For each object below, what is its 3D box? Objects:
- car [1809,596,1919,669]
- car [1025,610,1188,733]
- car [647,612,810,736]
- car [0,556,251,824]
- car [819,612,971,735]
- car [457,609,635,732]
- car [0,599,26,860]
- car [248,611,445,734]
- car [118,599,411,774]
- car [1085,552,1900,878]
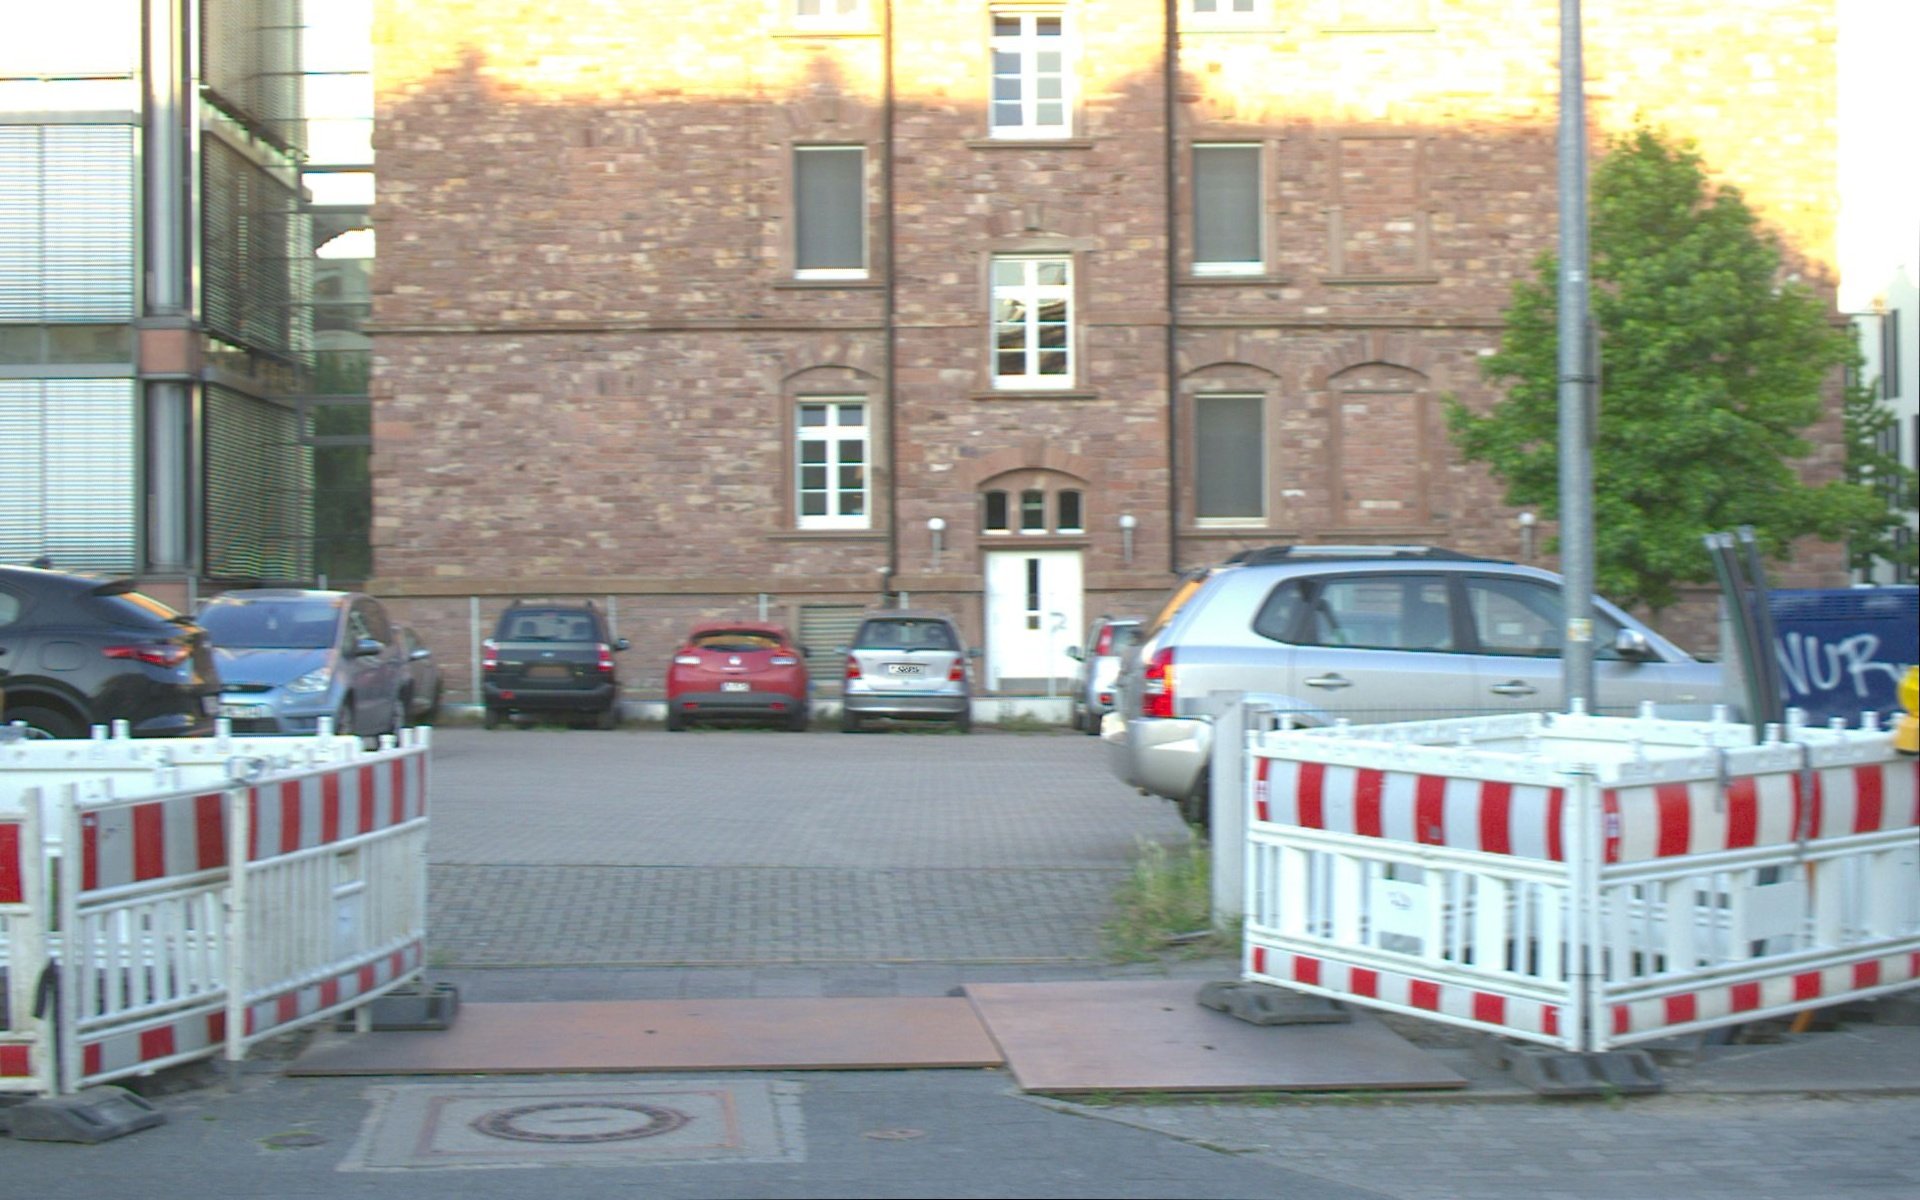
[{"bbox_3d":[17.758,0.596,62.850,3.986,1.308,1.877,0,0,-2],"label":"car"},{"bbox_3d":[1.871,0.907,45.106,1.896,1.532,4.179,0,0,-1],"label":"car"},{"bbox_3d":[-2.983,0.931,44.997,1.896,1.532,4.179,0,0,-1],"label":"car"},{"bbox_3d":[-6.994,0.578,21.967,4.583,1.632,1.575,-1,0,1],"label":"car"},{"bbox_3d":[-0.845,0.929,45.150,1.896,1.532,4.179,0,0,-1],"label":"car"},{"bbox_3d":[-5.404,0.895,45.348,1.896,1.532,4.179,0,0,-1],"label":"car"},{"bbox_3d":[-7.336,0.760,19.480,3.631,1.498,1.637,-1,0,1],"label":"car"},{"bbox_3d":[-8.022,0.915,45.276,1.896,1.532,4.179,0,0,-1],"label":"car"},{"bbox_3d":[-6.631,0.789,33.236,1.993,1.571,4.364,0,0,-1],"label":"car"},{"bbox_3d":[2.901,0.621,19.350,4.269,1.703,1.703,-1,0,-2],"label":"car"}]
